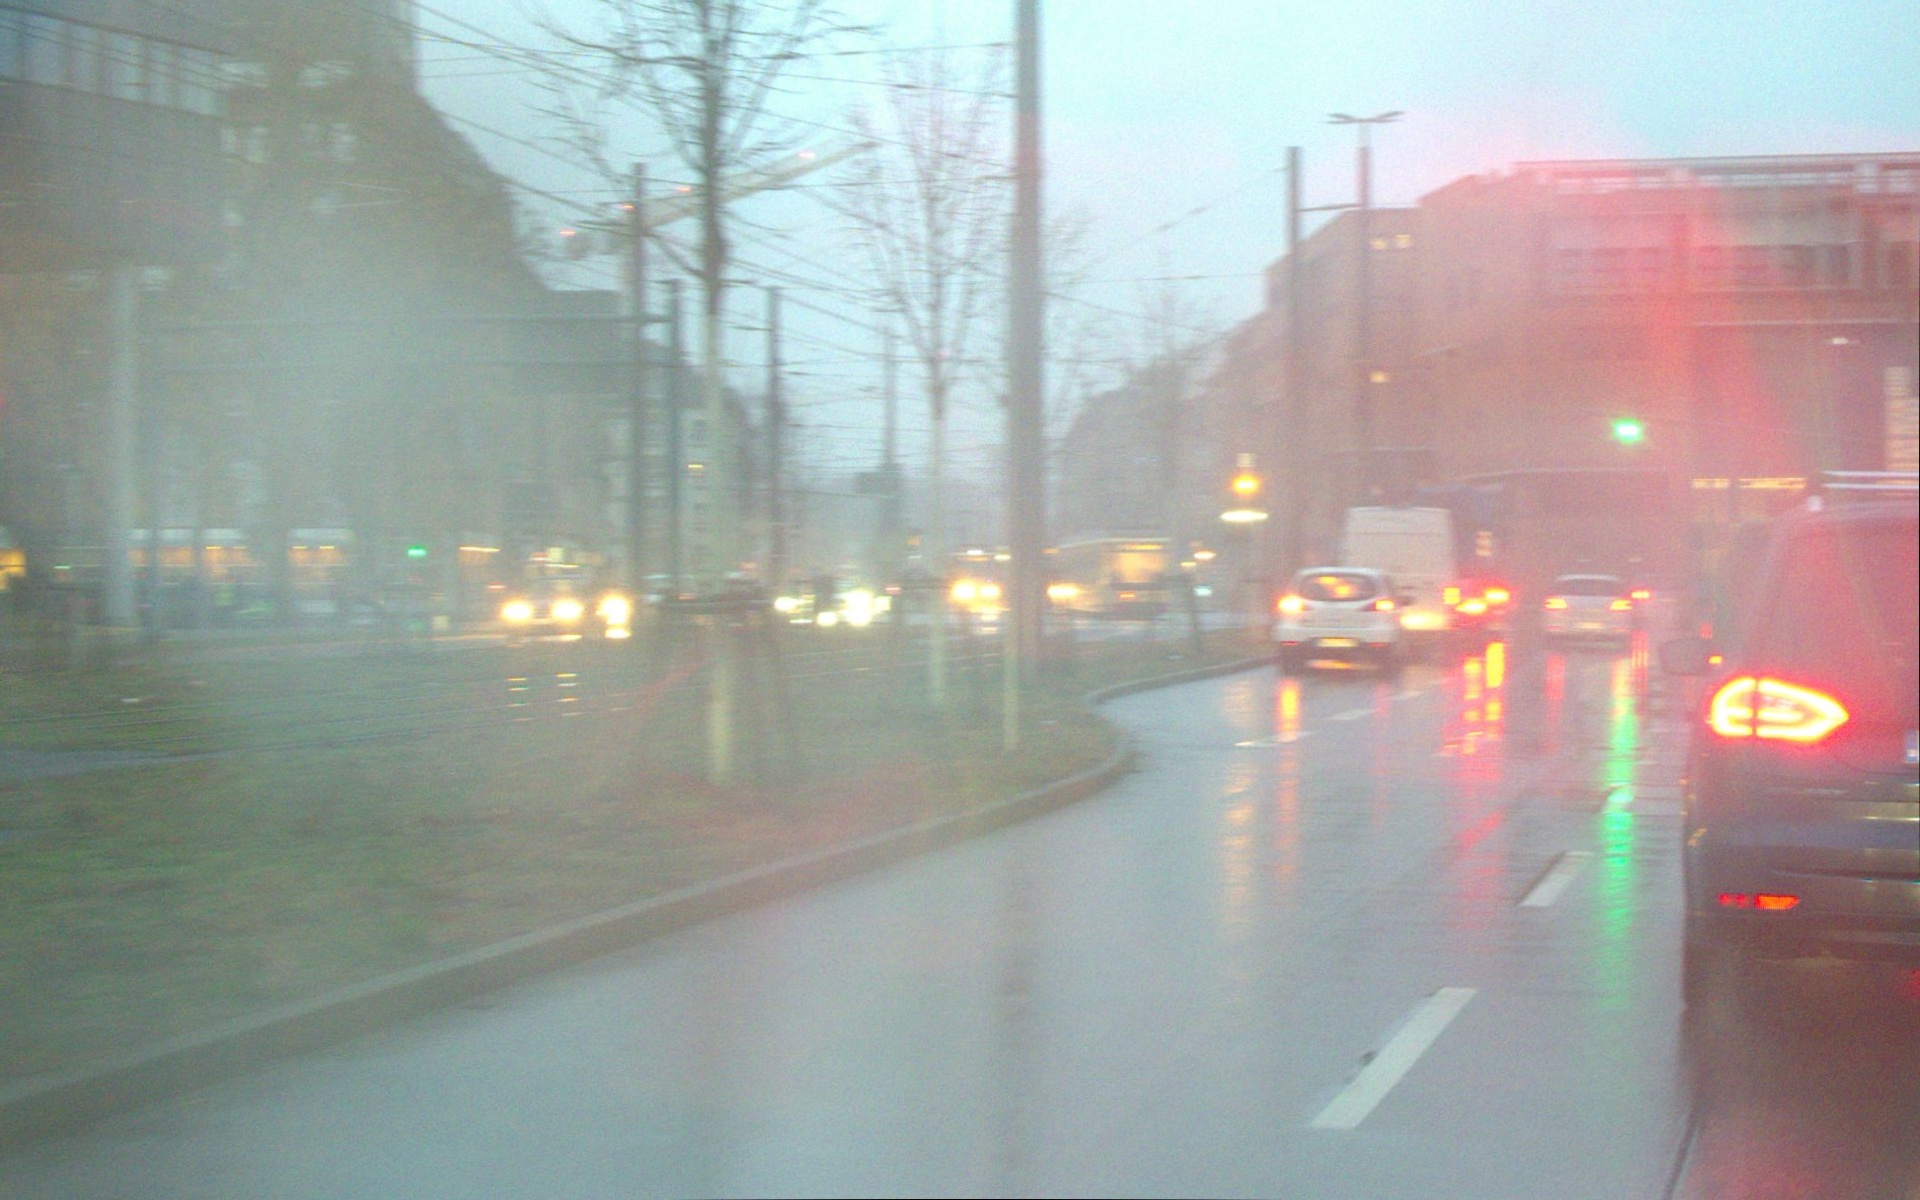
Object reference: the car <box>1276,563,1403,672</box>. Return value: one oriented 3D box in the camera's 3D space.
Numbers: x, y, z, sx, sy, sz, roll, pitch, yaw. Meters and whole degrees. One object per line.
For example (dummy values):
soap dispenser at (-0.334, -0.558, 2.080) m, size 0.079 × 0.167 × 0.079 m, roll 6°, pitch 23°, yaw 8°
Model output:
car at (5.556, 0.225, 50.093) m, size 1.639 × 1.491 × 3.684 m, roll 0°, pitch 1°, yaw 10°

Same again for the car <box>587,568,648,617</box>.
car at (-10.105, -0.230, 101.600) m, size 1.506 × 1.397 × 3.549 m, roll 0°, pitch 0°, yaw -1°

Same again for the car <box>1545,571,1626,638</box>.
car at (12.514, 0.075, 68.692) m, size 1.512 × 1.301 × 3.039 m, roll 0°, pitch 0°, yaw 12°

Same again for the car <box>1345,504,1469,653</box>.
car at (7.573, -0.372, 58.691) m, size 1.994 × 2.419 × 5.973 m, roll 0°, pitch 0°, yaw 6°

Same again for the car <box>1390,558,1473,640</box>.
car at (8.945, -0.001, 65.395) m, size 1.518 × 1.515 × 3.469 m, roll 0°, pitch 0°, yaw 7°

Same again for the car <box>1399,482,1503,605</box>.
car at (11.699, -1.314, 81.939) m, size 2.356 × 2.817 × 6.356 m, roll 0°, pitch 0°, yaw 8°

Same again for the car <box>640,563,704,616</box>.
car at (-7.575, -0.260, 90.609) m, size 1.506 × 1.368 × 3.653 m, roll 0°, pitch 0°, yaw -2°

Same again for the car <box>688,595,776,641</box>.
car at (-7.075, 0.539, 106.898) m, size 1.730 × 1.388 × 4.197 m, roll 0°, pitch 0°, yaw 11°

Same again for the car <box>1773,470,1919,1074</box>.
car at (3.713, 0.491, 11.946) m, size 1.675 × 1.773 × 3.998 m, roll 0°, pitch 0°, yaw 13°

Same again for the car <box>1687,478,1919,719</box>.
car at (6.922, -0.035, 28.041) m, size 1.844 × 1.800 × 4.484 m, roll 0°, pitch 0°, yaw 11°

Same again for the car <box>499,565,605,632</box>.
car at (-8.892, -0.042, 75.165) m, size 1.815 × 1.437 × 3.956 m, roll 0°, pitch 0°, yaw 1°
